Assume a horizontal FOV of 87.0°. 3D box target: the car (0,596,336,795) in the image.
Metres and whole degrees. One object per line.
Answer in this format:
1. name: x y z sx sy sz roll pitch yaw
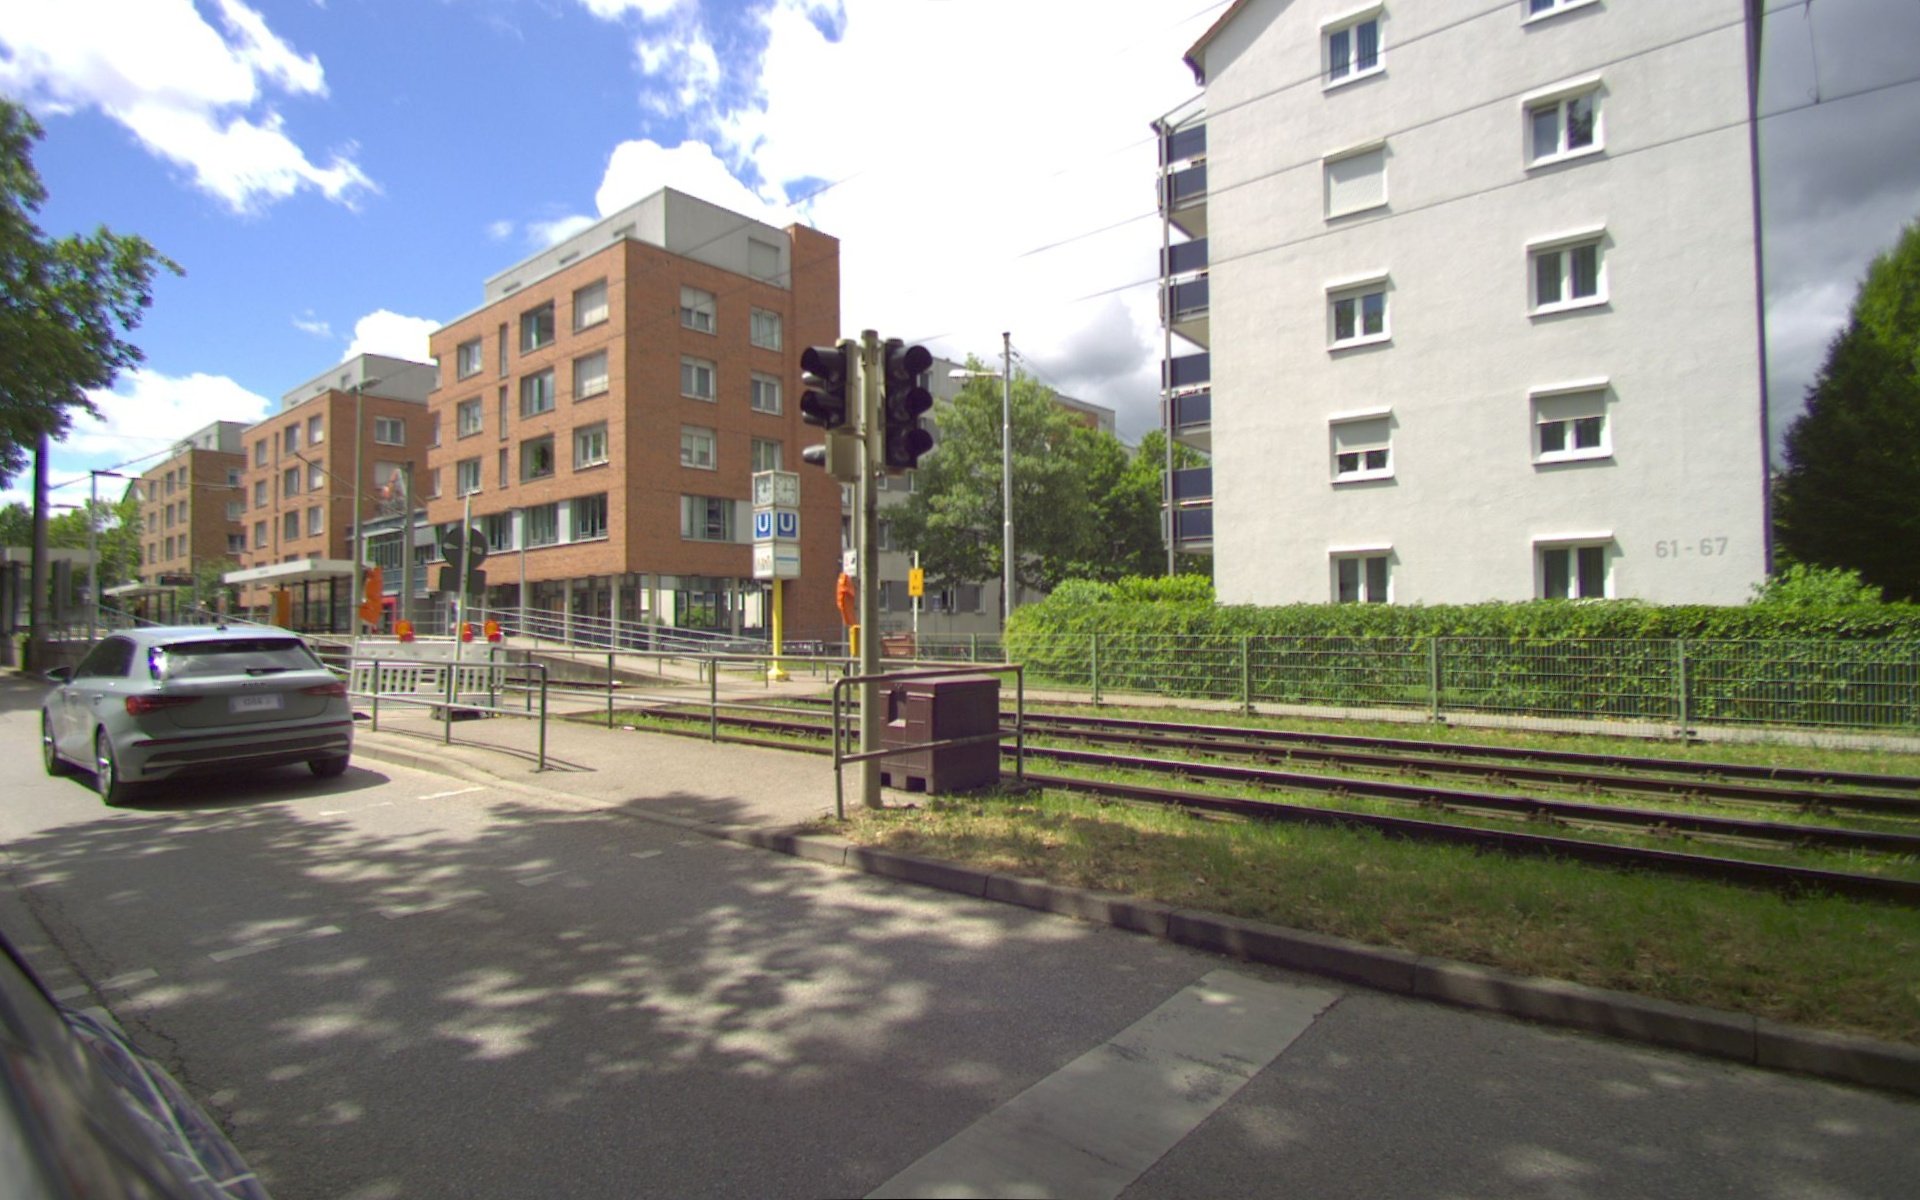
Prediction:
1. car: -7.320 0.743 9.218 3.847 1.446 1.620 -2 -2 39

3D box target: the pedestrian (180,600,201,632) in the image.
1. pedestrian: -40.387 0.839 53.110 0.815 1.641 0.743 -1 -1 41

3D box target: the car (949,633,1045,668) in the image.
1. car: 1.561 2.170 43.894 4.001 1.437 1.823 -2 -3 44

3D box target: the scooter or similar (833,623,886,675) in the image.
1. scooter or similar: -2.493 1.211 25.187 1.280 1.263 0.466 2 -3 -40

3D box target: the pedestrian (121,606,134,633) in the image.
1. pedestrian: -53.595 1.260 65.155 0.527 1.777 0.529 -1 -2 38

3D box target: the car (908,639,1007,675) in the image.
1. car: -0.145 2.332 42.043 4.001 1.437 1.823 -2 -3 44

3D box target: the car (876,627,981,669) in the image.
1. car: -1.281 1.886 40.167 4.000 1.564 1.874 -2 -3 43
